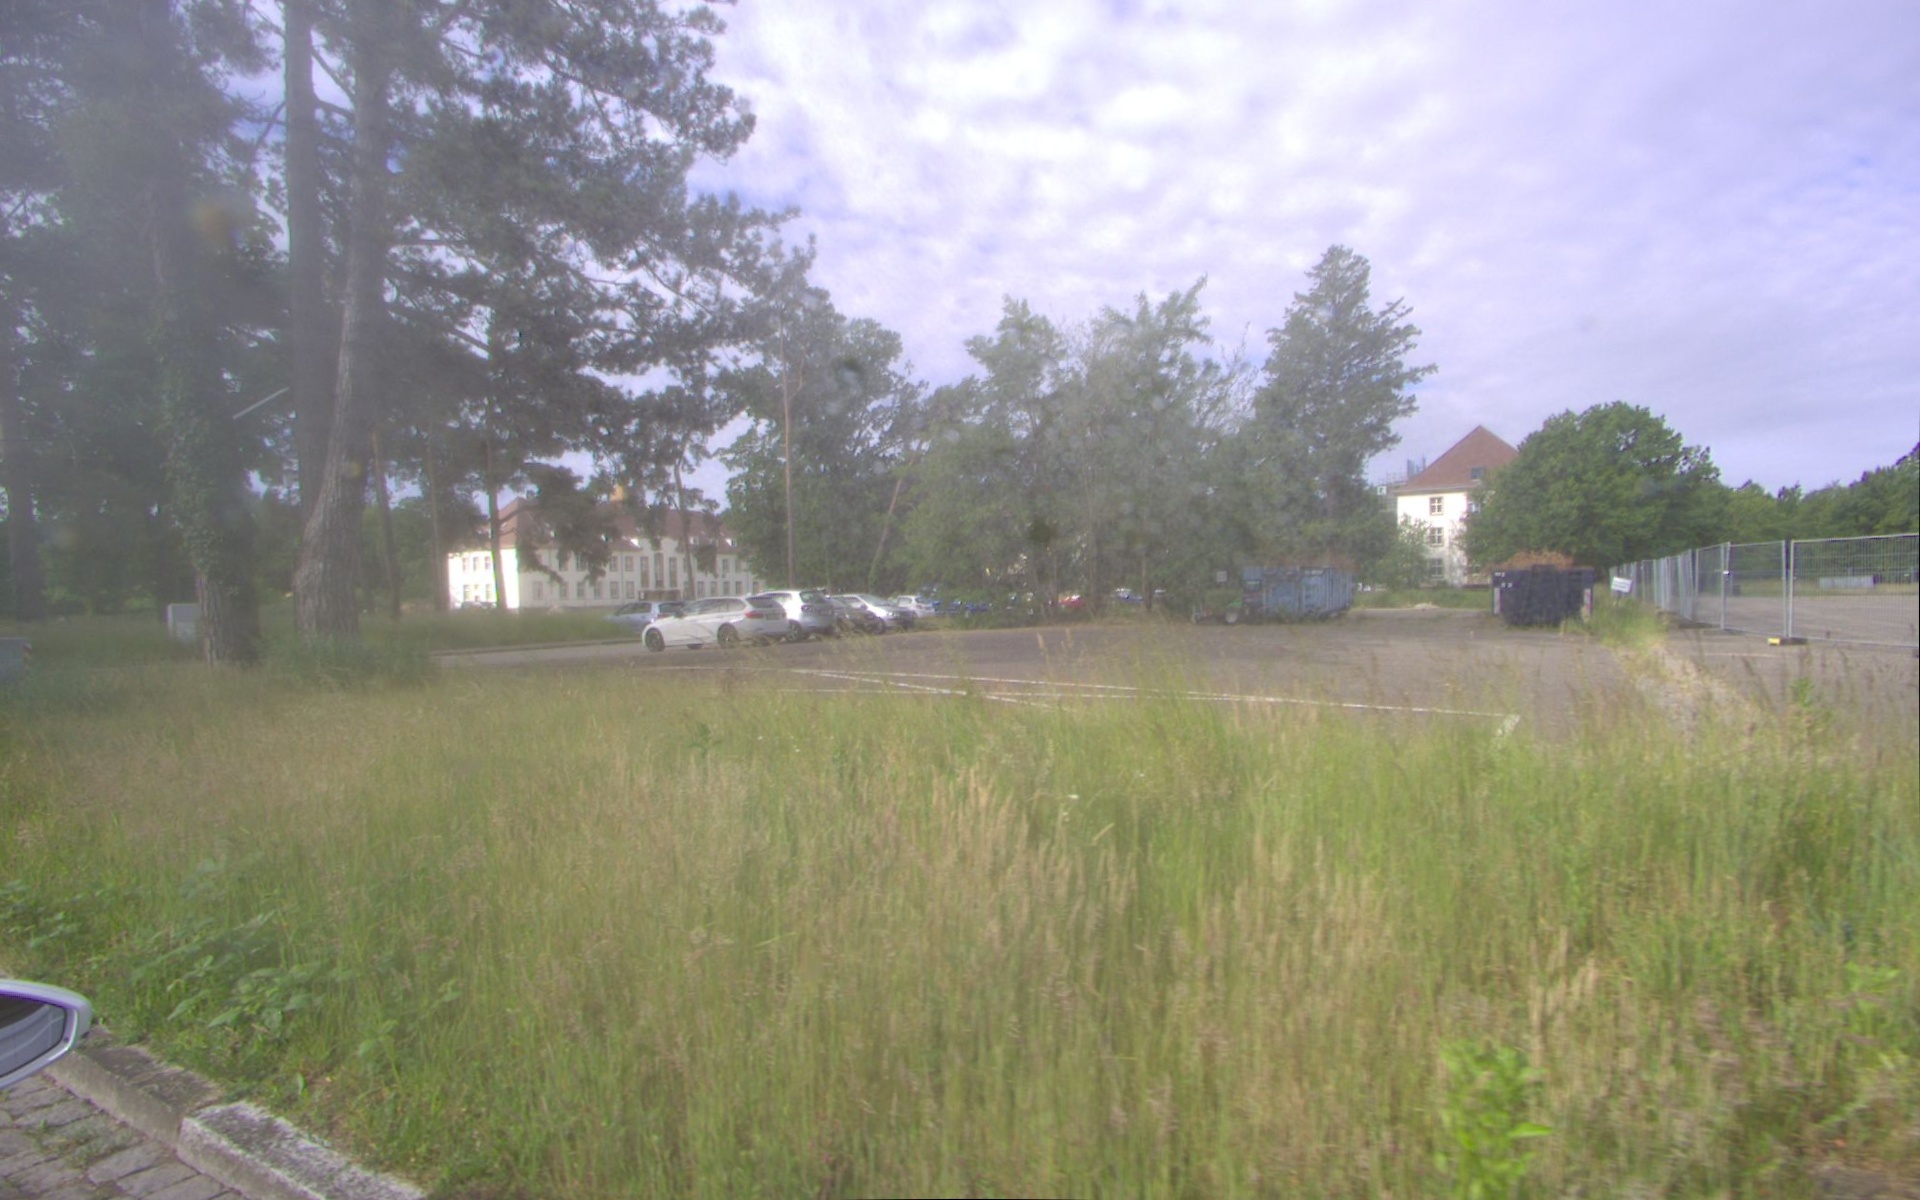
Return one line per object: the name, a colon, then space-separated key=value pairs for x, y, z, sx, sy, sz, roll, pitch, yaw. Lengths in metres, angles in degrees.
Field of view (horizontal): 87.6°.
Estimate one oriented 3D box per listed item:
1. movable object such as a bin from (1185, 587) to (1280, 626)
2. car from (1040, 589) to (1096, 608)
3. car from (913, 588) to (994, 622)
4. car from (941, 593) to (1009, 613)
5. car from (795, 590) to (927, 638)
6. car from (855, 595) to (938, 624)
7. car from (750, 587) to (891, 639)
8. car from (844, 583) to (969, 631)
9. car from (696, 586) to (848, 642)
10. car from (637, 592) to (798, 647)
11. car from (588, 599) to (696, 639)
movable object such as a bin: x=8.042 y=0.171 z=29.591 sx=2.505 sy=1.098 sz=1.060 roll=1 pitch=2 yaw=30
car: x=8.322 y=-0.141 z=77.308 sx=3.936 sy=1.373 sz=1.656 roll=-1 pitch=1 yaw=26
car: x=-0.396 y=0.300 z=60.276 sx=4.585 sy=1.994 sz=1.750 roll=-1 pitch=1 yaw=29
car: x=0.924 y=0.190 z=62.489 sx=3.940 sy=1.226 sz=1.654 roll=-1 pitch=1 yaw=30
car: x=-3.524 y=0.483 z=35.654 sx=4.379 sy=1.598 sz=1.864 roll=-1 pitch=1 yaw=28
car: x=-3.562 y=0.548 z=56.103 sx=4.379 sy=1.544 sz=1.750 roll=-1 pitch=1 yaw=29
car: x=-4.624 y=0.428 z=33.135 sx=4.379 sy=1.598 sz=1.864 roll=-1 pitch=1 yaw=28
car: x=-2.025 y=0.275 z=37.789 sx=4.379 sy=1.709 sz=1.864 roll=-1 pitch=1 yaw=28
car: x=-5.778 y=0.432 z=30.679 sx=4.379 sy=1.598 sz=1.864 roll=-1 pitch=1 yaw=28
car: x=-6.877 y=0.552 z=28.328 sx=4.380 sy=1.434 sz=1.750 roll=-2 pitch=1 yaw=29
car: x=-12.890 y=0.762 z=40.549 sx=4.385 sy=1.545 sz=1.748 roll=-1 pitch=1 yaw=33
